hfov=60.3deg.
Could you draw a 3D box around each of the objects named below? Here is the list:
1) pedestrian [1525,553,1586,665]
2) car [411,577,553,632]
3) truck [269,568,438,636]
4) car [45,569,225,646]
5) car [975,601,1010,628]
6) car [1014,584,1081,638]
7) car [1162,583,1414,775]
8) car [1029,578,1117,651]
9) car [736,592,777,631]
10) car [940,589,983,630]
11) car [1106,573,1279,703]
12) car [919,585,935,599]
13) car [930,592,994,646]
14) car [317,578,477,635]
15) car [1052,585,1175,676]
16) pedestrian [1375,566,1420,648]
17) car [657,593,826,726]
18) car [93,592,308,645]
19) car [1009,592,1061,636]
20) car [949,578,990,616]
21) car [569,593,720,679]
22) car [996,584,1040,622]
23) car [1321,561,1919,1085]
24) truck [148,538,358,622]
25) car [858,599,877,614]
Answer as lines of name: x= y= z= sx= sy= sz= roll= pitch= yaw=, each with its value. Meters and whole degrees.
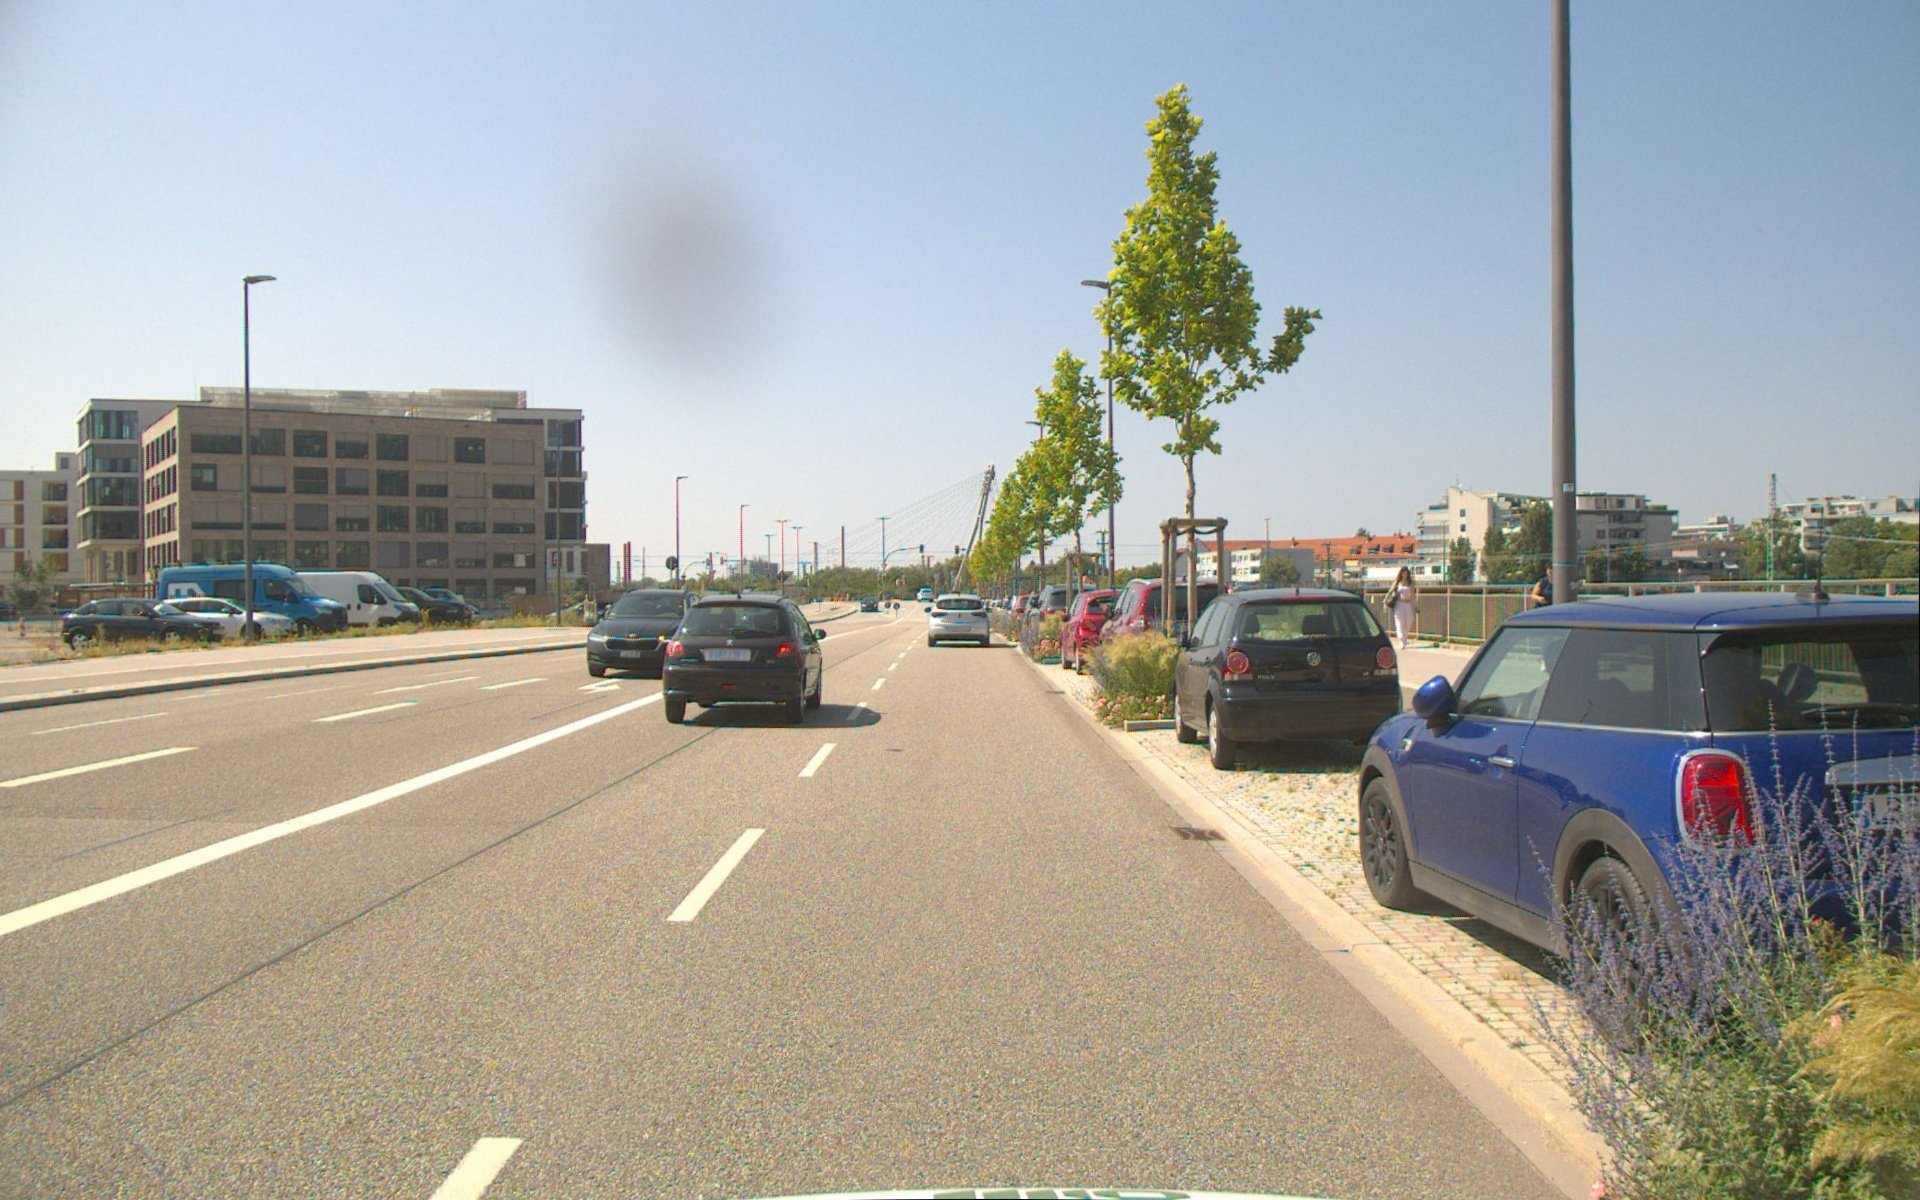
pedestrian: x=9.447 y=0.147 z=26.251 sx=0.717 sy=1.735 sz=0.651 roll=1 pitch=-1 yaw=0
car: x=-20.287 y=0.181 z=70.401 sx=5.335 sy=2.211 sz=2.393 roll=-1 pitch=0 yaw=-4
truck: x=-22.656 y=0.067 z=61.984 sx=5.454 sy=2.404 sz=2.274 roll=-1 pitch=0 yaw=-2
car: x=-21.934 y=0.201 z=44.040 sx=3.902 sy=1.937 sz=1.829 roll=-1 pitch=0 yaw=7
car: x=1.687 y=0.733 z=86.182 sx=1.599 sy=1.333 sz=3.999 roll=1 pitch=0 yaw=-2
car: x=2.541 y=0.290 z=49.018 sx=1.600 sy=1.454 sz=4.240 roll=-2 pitch=1 yaw=-2
car: x=2.869 y=0.612 z=15.181 sx=1.586 sy=1.504 sz=3.824 roll=-1 pitch=1 yaw=1
car: x=2.698 y=0.324 z=40.364 sx=1.699 sy=1.636 sz=4.239 roll=-2 pitch=0 yaw=-2
car: x=-8.824 y=0.520 z=71.951 sx=1.548 sy=1.590 sz=3.670 roll=1 pitch=-1 yaw=-4
car: x=0.088 y=0.436 z=75.060 sx=1.756 sy=1.780 sz=4.001 roll=1 pitch=0 yaw=3
car: x=3.184 y=0.460 z=23.508 sx=1.869 sy=1.645 sz=4.549 roll=-1 pitch=1 yaw=1
car: x=-4.214 y=-1.000 z=210.395 sx=1.818 sy=1.678 sz=3.996 roll=1 pitch=0 yaw=-5
car: x=0.102 y=0.514 z=47.697 sx=1.741 sy=1.467 sz=4.001 roll=-1 pitch=0 yaw=1
car: x=-23.179 y=0.253 z=68.243 sx=5.765 sy=2.203 sz=2.394 roll=-1 pitch=1 yaw=-3
car: x=2.771 y=0.521 z=30.527 sx=1.572 sy=1.517 sz=3.814 roll=-2 pitch=0 yaw=-5
pedestrian: x=9.530 y=0.152 z=36.037 sx=0.764 sy=1.735 sz=0.742 roll=1 pitch=0 yaw=0
car: x=-2.571 y=0.657 z=20.163 sx=1.586 sy=1.441 sz=3.726 roll=1 pitch=0 yaw=-1
car: x=-23.151 y=0.547 z=50.556 sx=5.538 sy=1.500 sz=2.106 roll=1 pitch=0 yaw=-3
car: x=2.698 y=0.472 z=60.196 sx=1.682 sy=1.476 sz=4.000 roll=1 pitch=1 yaw=-1
car: x=0.455 y=-0.114 z=73.221 sx=1.741 sy=1.596 sz=4.000 roll=1 pitch=-1 yaw=1
car: x=-5.583 y=0.589 z=29.804 sx=1.750 sy=1.422 sz=4.572 roll=0 pitch=0 yaw=1
car: x=2.606 y=0.127 z=73.176 sx=1.869 sy=1.605 sz=4.159 roll=-1 pitch=0 yaw=3
car: x=2.877 y=0.615 z=6.894 sx=1.869 sy=1.504 sz=4.158 roll=-1 pitch=1 yaw=1
truck: x=-23.302 y=-0.659 z=54.714 sx=5.887 sy=2.588 sz=2.273 roll=-1 pitch=0 yaw=-5
car: x=-9.262 y=0.664 z=166.296 sx=1.669 sy=1.376 sz=4.455 roll=-1 pitch=0 yaw=0
